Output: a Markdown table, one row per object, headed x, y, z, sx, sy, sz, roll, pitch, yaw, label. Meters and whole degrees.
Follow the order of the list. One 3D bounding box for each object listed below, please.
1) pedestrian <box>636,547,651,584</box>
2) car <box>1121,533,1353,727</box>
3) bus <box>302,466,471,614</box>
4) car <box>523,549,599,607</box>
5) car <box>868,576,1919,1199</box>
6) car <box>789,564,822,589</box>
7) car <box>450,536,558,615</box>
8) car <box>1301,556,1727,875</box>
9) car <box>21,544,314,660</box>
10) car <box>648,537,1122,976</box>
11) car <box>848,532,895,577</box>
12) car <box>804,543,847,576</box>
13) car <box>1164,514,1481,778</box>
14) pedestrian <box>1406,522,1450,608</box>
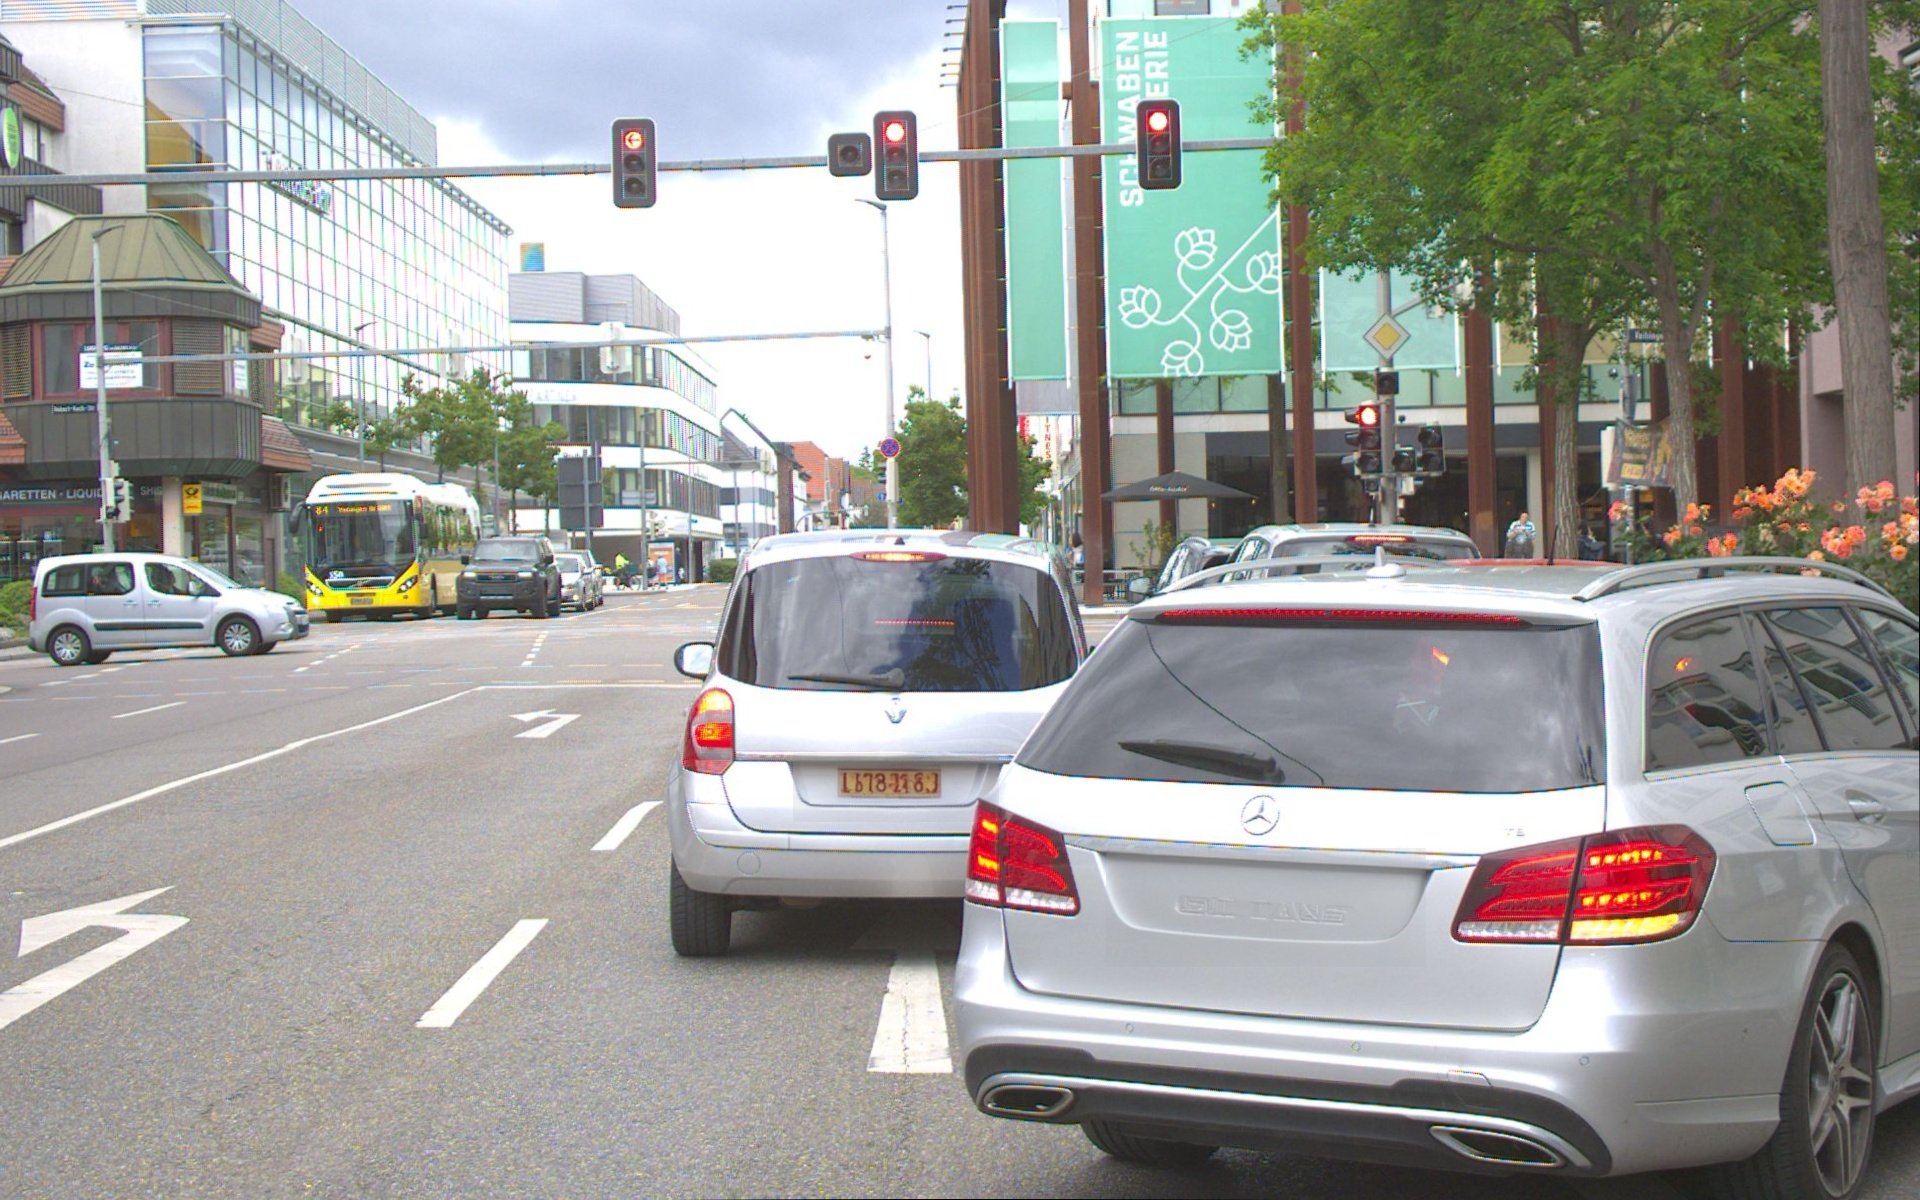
| x | y | z | sx | sy | sz | roll | pitch | yaw | label |
| --- | --- | --- | --- | --- | --- | --- | --- | --- | --- |
| -15.112 | -1.638 | 163.938 | 0.488 | 1.728 | 0.520 | -1 | 1 | 24 | pedestrian |
| 2.389 | 0.217 | 30.425 | 1.586 | 1.589 | 3.868 | 1 | 1 | -2 | car |
| -13.319 | -1.402 | 80.523 | 2.686 | 3.250 | 8.654 | -1 | 1 | -2 | bus |
| -9.903 | -0.559 | 85.485 | 1.555 | 1.387 | 3.288 | -1 | 1 | -2 | car |
| 1.709 | 0.679 | 8.879 | 1.818 | 1.443 | 4.362 | 1 | 1 | 31 | car |
| -9.894 | -1.526 | 220.110 | 1.801 | 1.535 | 4.065 | -1 | 1 | 1 | car |
| -10.282 | -0.577 | 77.762 | 1.993 | 1.700 | 4.065 | -1 | 1 | -2 | car |
| 2.722 | 0.513 | 17.537 | 1.586 | 1.438 | 3.348 | 1 | 1 | 0 | car |
| -12.768 | 0.020 | 55.519 | 4.385 | 1.767 | 1.327 | -1 | 1 | 0 | car |
| -0.281 | 0.513 | 13.624 | 1.640 | 1.522 | 3.394 | 0 | 1 | -1 | car |
| -3.902 | -2.006 | 151.192 | 1.993 | 1.942 | 4.951 | -1 | 1 | -2 | car |
| -6.342 | -1.931 | 162.815 | 1.801 | 1.535 | 4.065 | -1 | 1 | 1 | car |
| 2.379 | 0.257 | 23.414 | 1.586 | 1.628 | 3.917 | 1 | 1 | -2 | car |
| 8.958 | -0.671 | 65.805 | 0.651 | 1.645 | 0.559 | -1 | 1 | -15 | pedestrian |
